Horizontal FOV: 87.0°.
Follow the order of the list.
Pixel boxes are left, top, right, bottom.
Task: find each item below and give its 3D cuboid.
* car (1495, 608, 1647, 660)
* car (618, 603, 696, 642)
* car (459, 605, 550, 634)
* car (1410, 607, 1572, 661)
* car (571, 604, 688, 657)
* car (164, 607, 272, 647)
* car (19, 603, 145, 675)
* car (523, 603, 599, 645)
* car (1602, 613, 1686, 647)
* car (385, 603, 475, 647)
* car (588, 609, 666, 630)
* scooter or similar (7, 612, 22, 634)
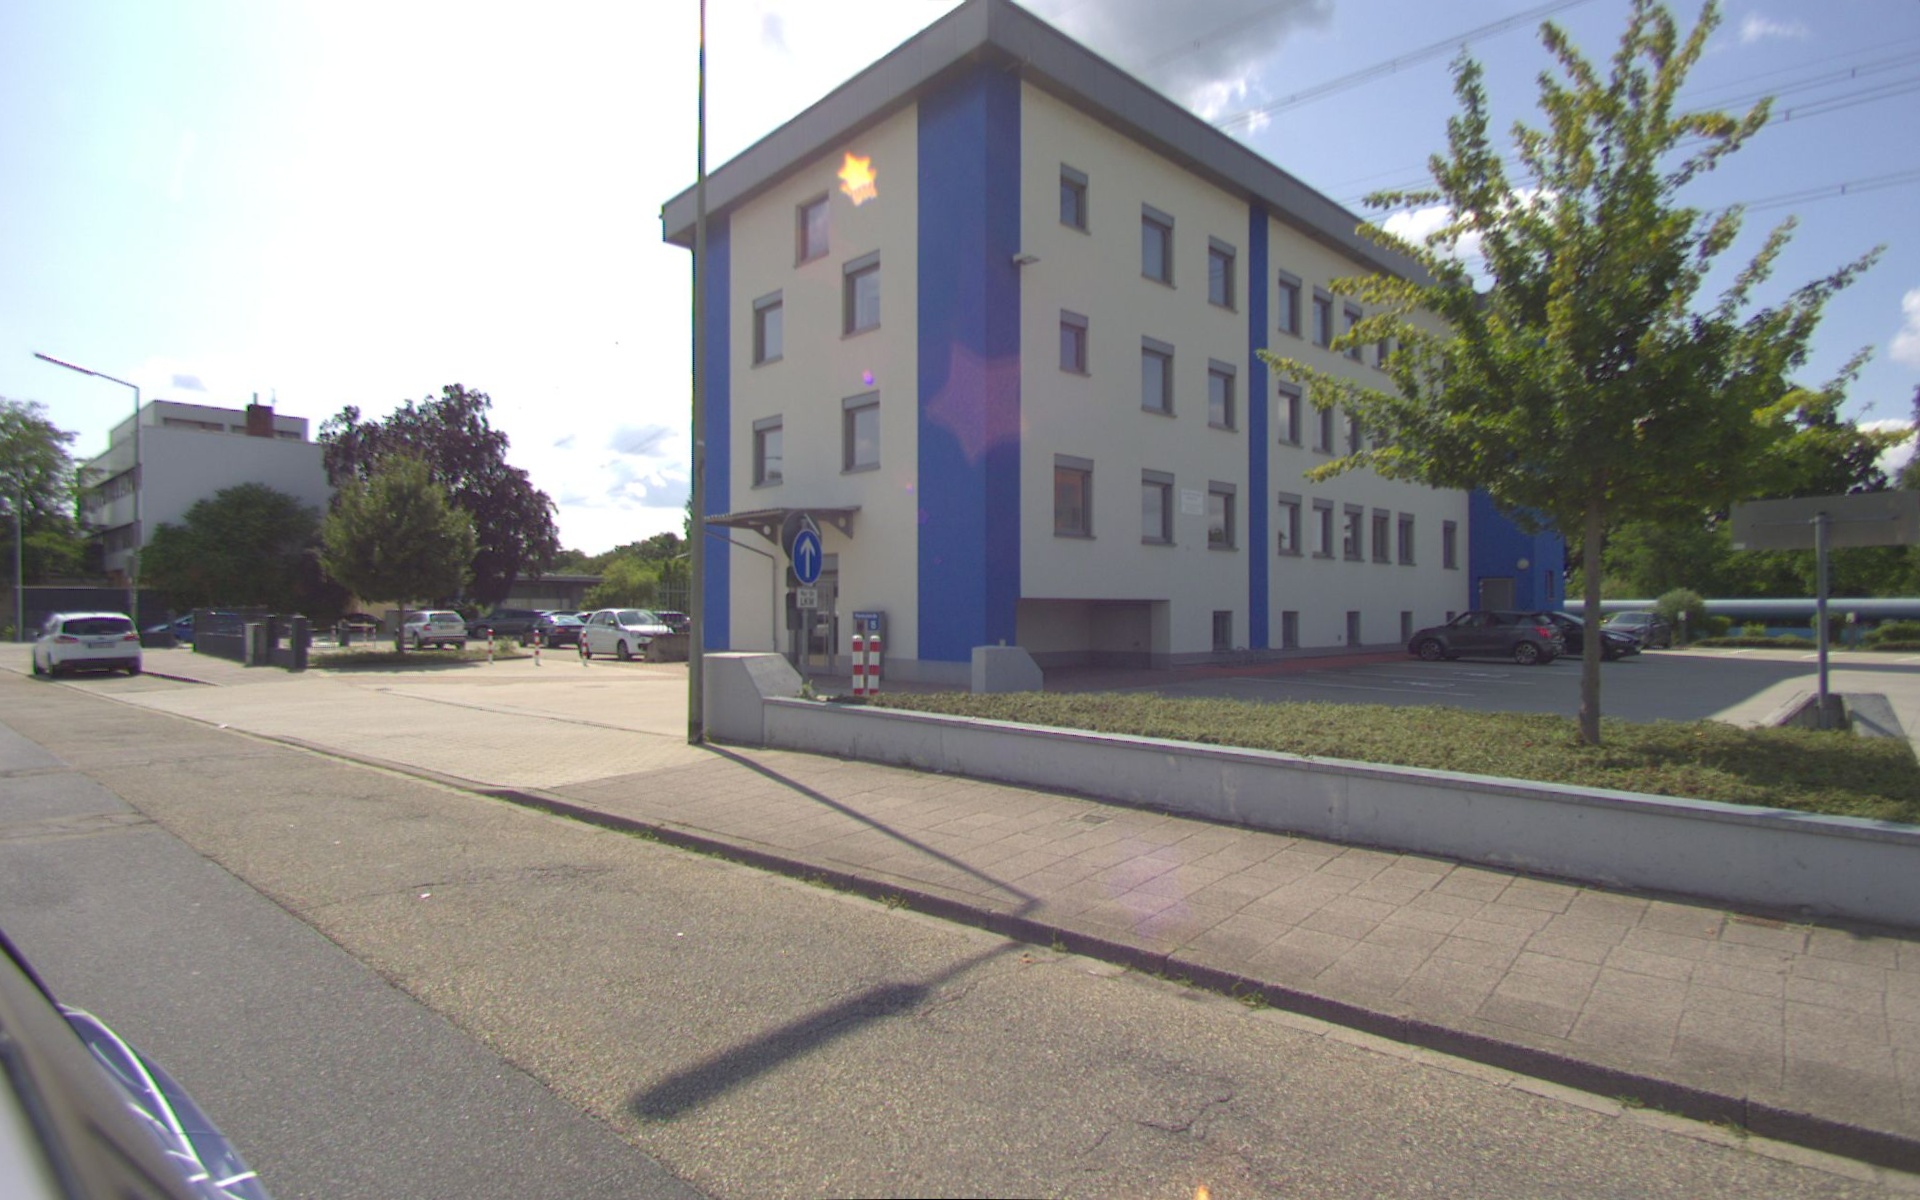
[{"bbox_3d":[18.499,0.991,30.749,1.544,1.386,3.683,1,1,-45],"label":"car"},{"bbox_3d":[-14.151,1.028,47.151,1.851,1.721,4.070,1,-1,-44],"label":"car"},{"bbox_3d":[-24.641,1.053,54.828,4.150,1.513,1.682,1,-1,-45],"label":"car"},{"bbox_3d":[14.584,0.888,27.904,1.544,1.386,3.682,1,-1,-45],"label":"car"},{"bbox_3d":[-10.125,0.886,30.851,3.759,1.518,1.852,0,-1,44],"label":"car"},{"bbox_3d":[-33.519,1.172,45.766,1.877,1.721,3.610,0,-1,40],"label":"car"},{"bbox_3d":[-23.212,0.942,26.696,4.750,1.721,1.848,0,0,41],"label":"car"},{"bbox_3d":[-17.101,1.008,43.307,1.850,1.721,3.483,1,-1,-43],"label":"car"},{"bbox_3d":[26.424,1.134,39.050,3.553,1.261,1.806,1,-1,-41],"label":"car"},{"bbox_3d":[-21.004,0.951,40.002,1.803,1.649,4.848,1,-1,-45],"label":"car"},{"bbox_3d":[-20.279,1.212,61.739,4.150,1.236,1.831,1,-1,-45],"label":"car"},{"bbox_3d":[-59.135,1.423,63.289,1.360,1.288,0.477,0,2,41],"label":"scooter or similar"}]
